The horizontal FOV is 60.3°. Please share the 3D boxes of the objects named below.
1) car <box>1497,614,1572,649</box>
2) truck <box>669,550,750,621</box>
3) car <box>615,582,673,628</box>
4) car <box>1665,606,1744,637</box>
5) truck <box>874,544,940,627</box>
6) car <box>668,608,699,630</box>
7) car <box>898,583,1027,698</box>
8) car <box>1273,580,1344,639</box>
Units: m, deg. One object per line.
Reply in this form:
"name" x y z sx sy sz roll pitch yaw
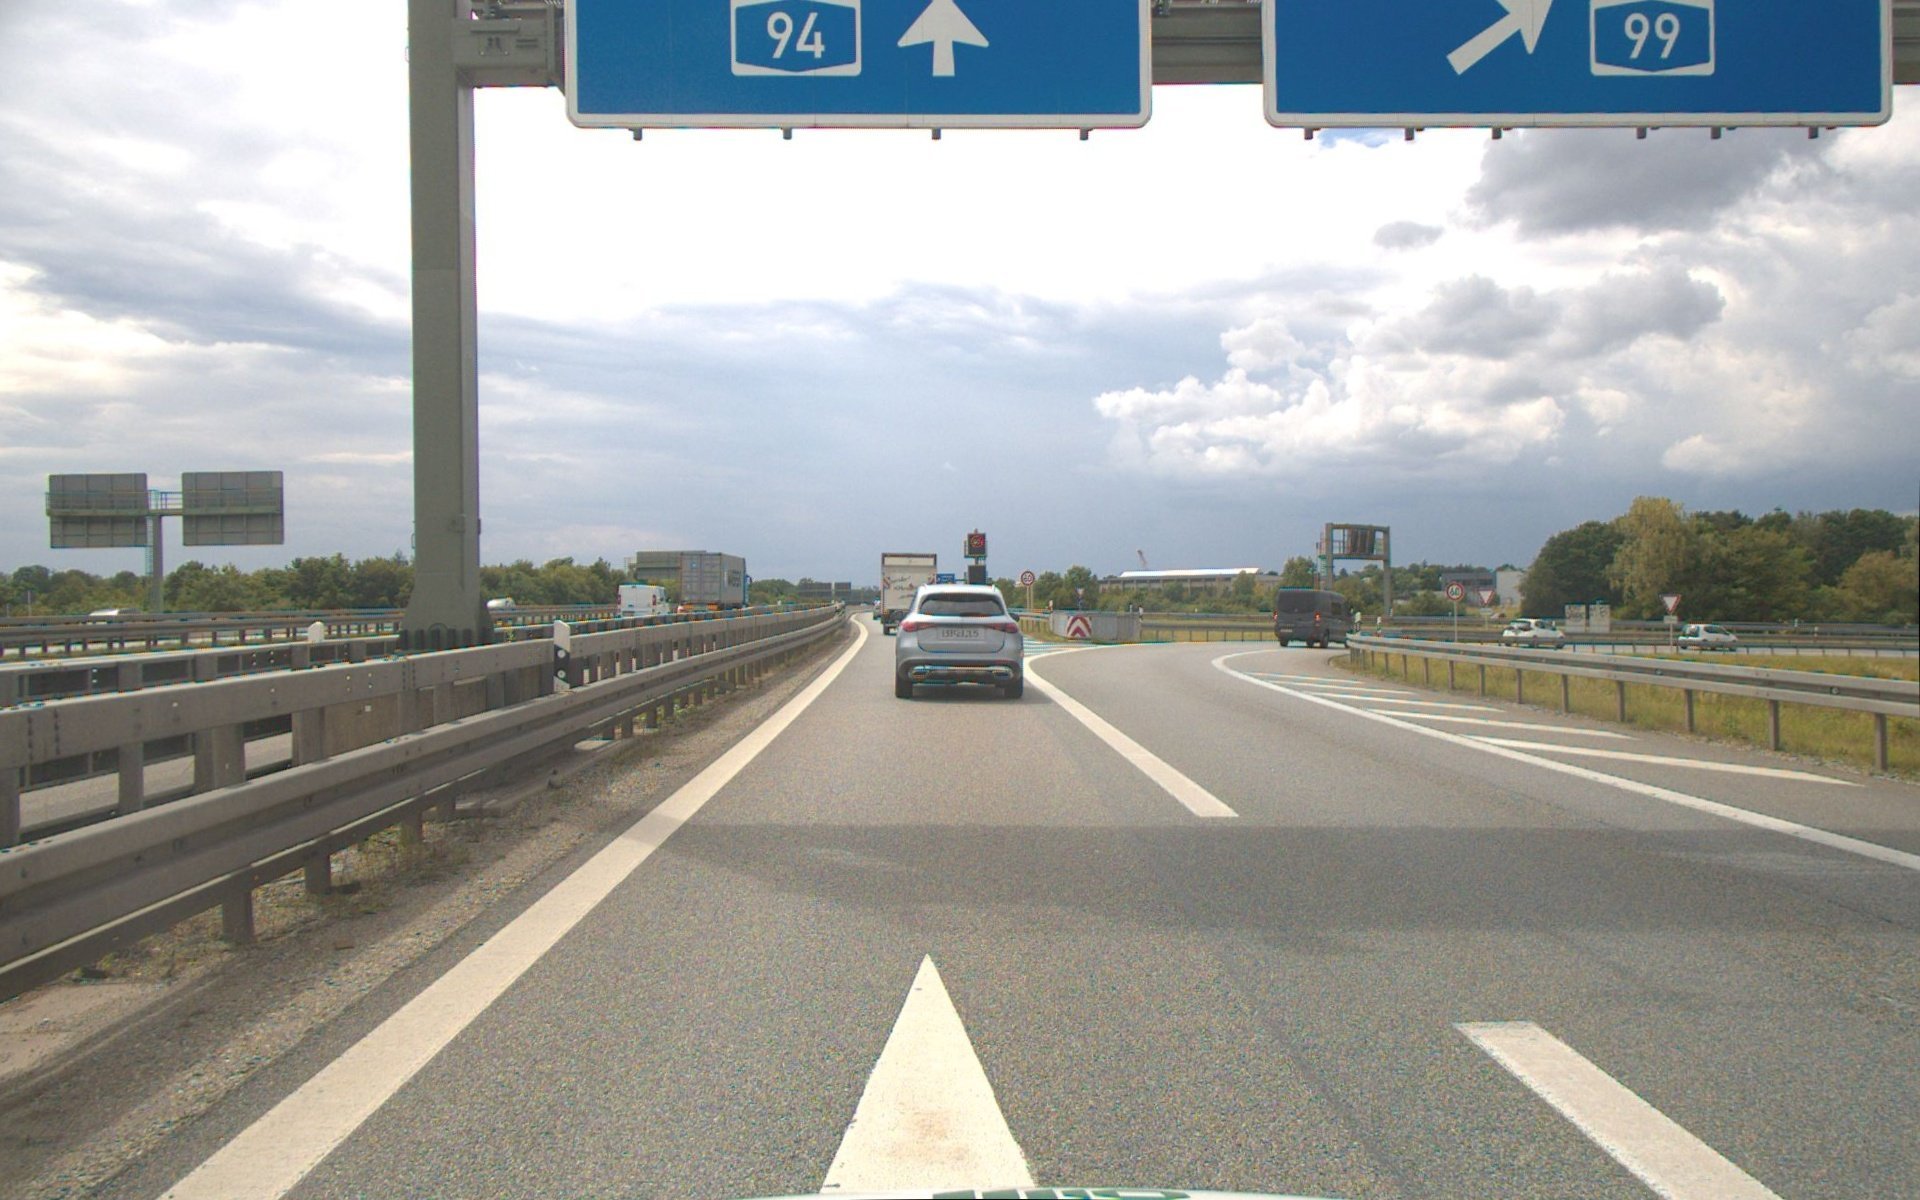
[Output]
"car" 31.134 1.705 89.579 3.958 1.739 1.974 0 1 -37
"truck" -15.479 -1.005 103.496 3.119 4.089 16.070 0 1 -2
"car" -15.084 0.206 79.131 1.953 2.048 4.374 0 1 -1
"car" 43.598 1.244 96.836 3.924 1.739 1.991 0 1 -18
"truck" -2.139 -0.561 68.289 2.517 3.180 8.631 0 0 -1
"car" -19.866 1.379 119.143 1.762 1.444 3.998 0 1 -3
"car" 0.007 0.540 24.859 1.782 1.541 4.000 0 1 -1
"car" 14.490 0.348 68.564 1.869 2.301 4.646 1 1 25
